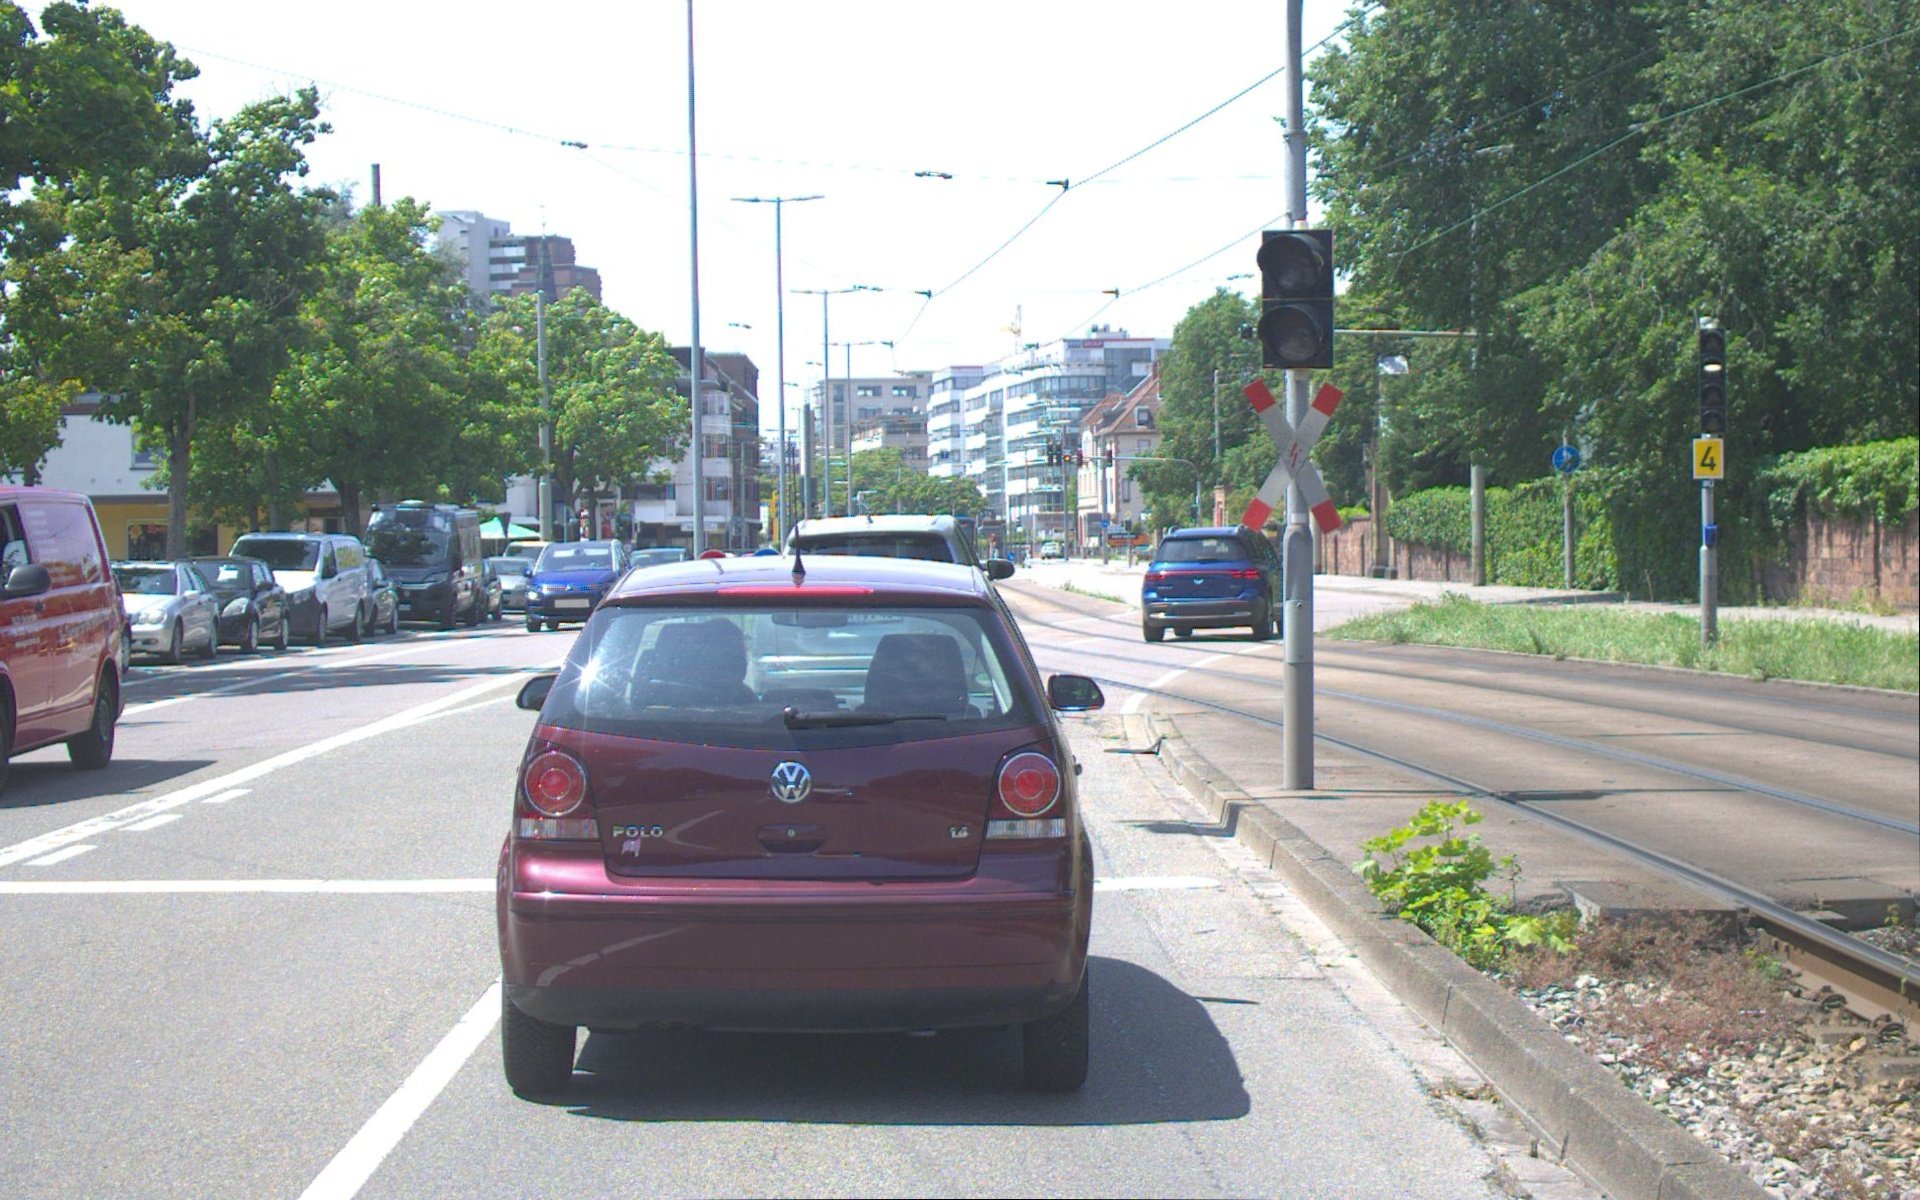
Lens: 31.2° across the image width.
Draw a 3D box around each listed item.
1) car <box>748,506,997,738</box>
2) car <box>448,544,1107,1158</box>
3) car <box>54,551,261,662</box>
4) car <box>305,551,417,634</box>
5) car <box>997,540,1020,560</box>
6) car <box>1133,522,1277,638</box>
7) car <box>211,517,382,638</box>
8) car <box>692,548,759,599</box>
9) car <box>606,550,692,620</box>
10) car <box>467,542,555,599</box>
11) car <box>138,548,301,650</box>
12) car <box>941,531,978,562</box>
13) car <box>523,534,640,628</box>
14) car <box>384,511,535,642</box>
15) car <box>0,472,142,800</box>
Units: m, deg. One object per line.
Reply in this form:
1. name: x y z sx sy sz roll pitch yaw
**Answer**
1. car: -0.647 0.121 26.872 1.795 1.677 4.000 0 1 0
2. car: -0.454 0.603 10.640 1.609 1.493 4.000 -2 1 0
3. car: -11.397 0.054 49.123 1.719 1.422 4.771 -2 1 1
4. car: -11.237 -0.167 64.674 1.405 1.435 3.840 2 1 -1
5. car: 3.052 -3.142 216.953 1.354 1.248 2.972 0 1 0
6. car: 3.631 -0.326 50.466 1.775 1.625 3.999 0 1 9
7. car: -11.432 -0.422 59.556 1.862 1.930 4.805 3 1 1
8. car: -6.782 -0.784 99.803 1.648 1.371 3.811 -3 1 -1
9. car: -7.423 -0.370 82.398 1.737 1.570 3.713 -2 1 -1
10. car: -11.634 -0.789 89.272 1.631 1.415 3.867 1 1 2
11. car: -11.593 -0.042 54.014 1.614 1.479 3.785 3 1 1
12. car: -0.026 -3.447 220.870 1.918 1.904 4.572 -1 1 -6
13. car: -7.023 -0.376 64.121 1.737 1.651 4.067 -2 1 -1
14. car: -10.920 -0.548 75.493 2.398 2.647 6.173 2 1 -1
15. car: -6.671 0.204 21.901 1.898 1.919 4.820 -2 1 -2
